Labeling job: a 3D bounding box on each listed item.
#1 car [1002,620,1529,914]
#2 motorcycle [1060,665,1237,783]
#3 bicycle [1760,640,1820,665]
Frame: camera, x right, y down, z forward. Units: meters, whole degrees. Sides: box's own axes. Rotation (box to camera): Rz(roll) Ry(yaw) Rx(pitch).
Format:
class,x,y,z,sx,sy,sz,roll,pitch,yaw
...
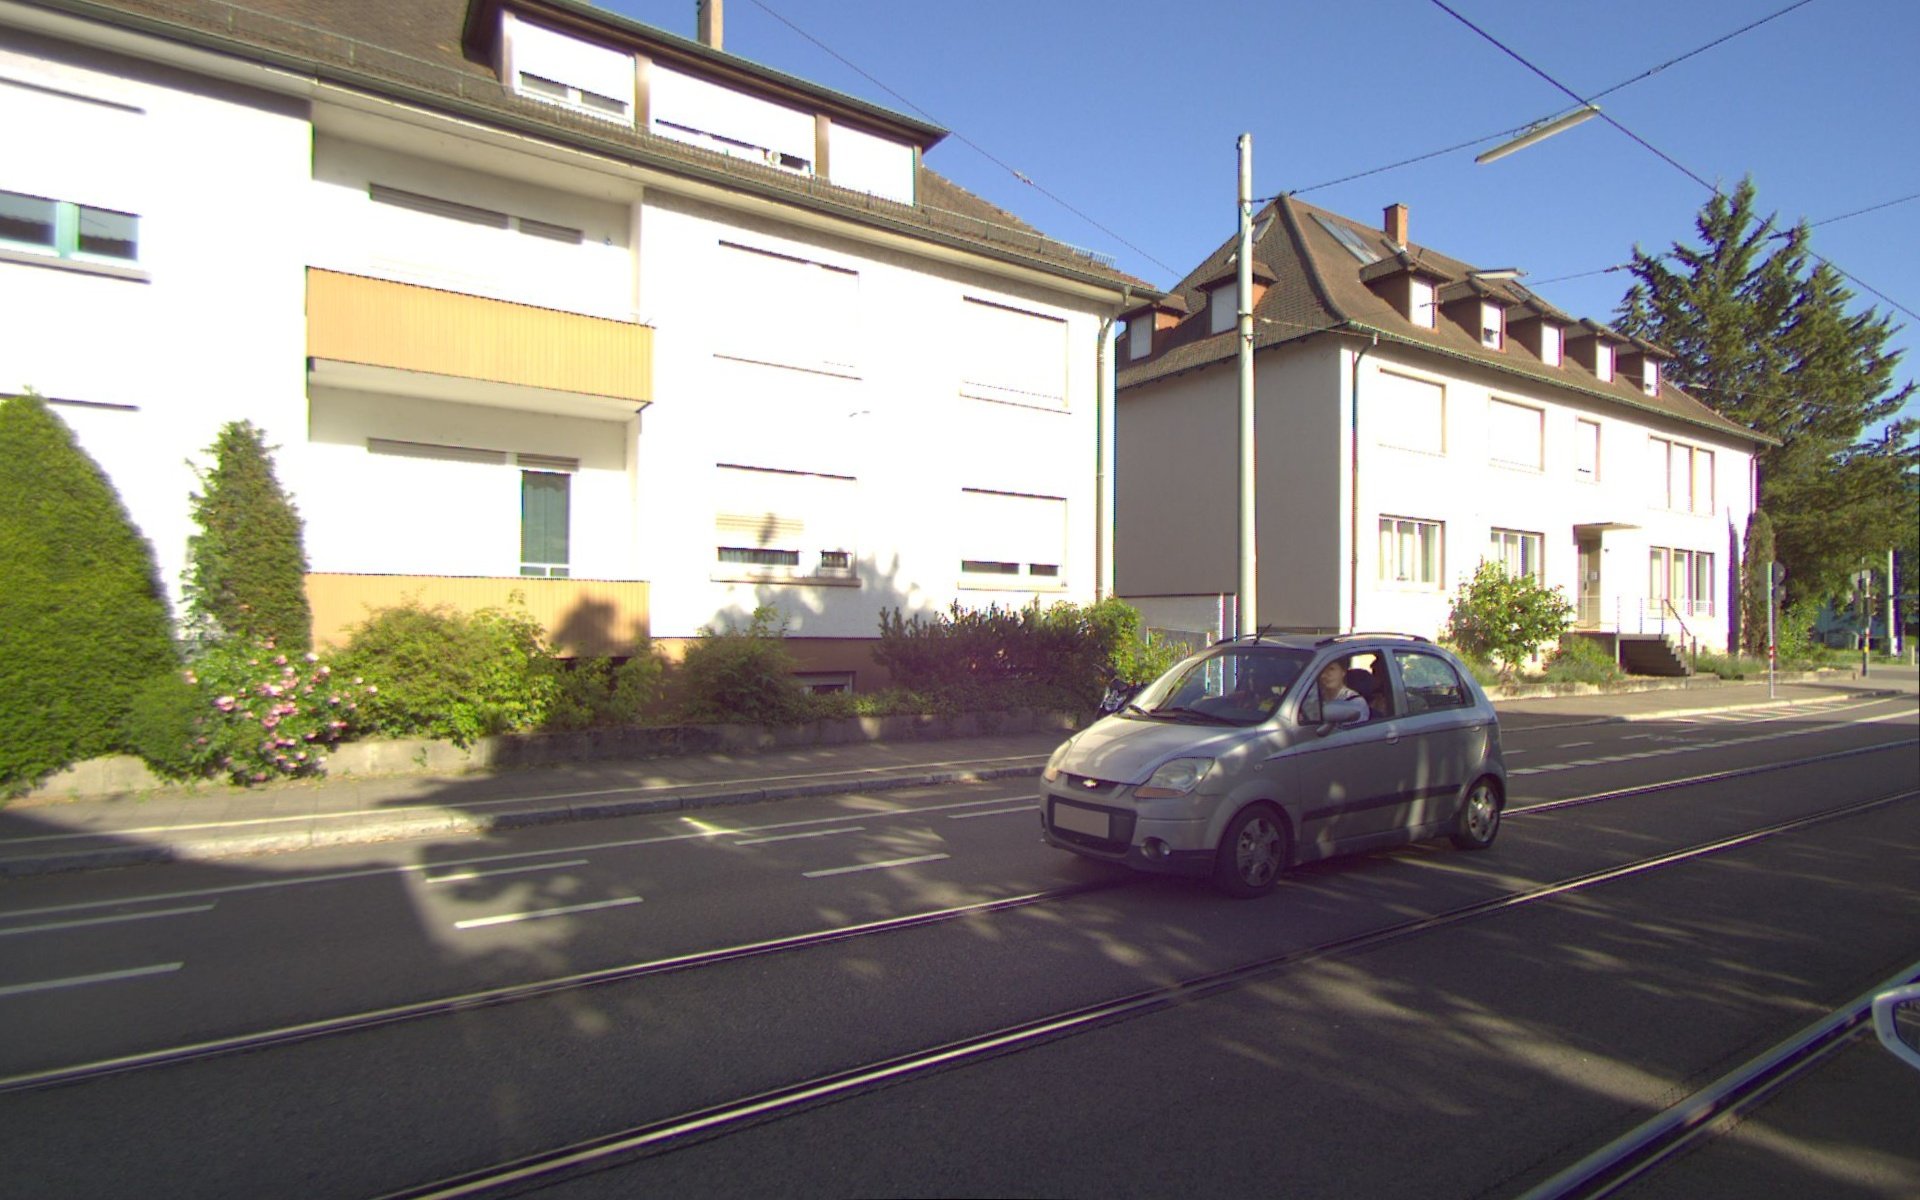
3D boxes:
class,x,y,z,sx,sy,sz,roll,pitch,yaw
car,2.115,0.925,6.732,3.404,1.496,1.566,2,-3,-33
motorcycle,2.111,1.325,11.109,2.148,1.177,0.533,2,-3,-33
bicycle,35.583,2.251,43.069,0.530,1.028,1.940,1,-2,-25
